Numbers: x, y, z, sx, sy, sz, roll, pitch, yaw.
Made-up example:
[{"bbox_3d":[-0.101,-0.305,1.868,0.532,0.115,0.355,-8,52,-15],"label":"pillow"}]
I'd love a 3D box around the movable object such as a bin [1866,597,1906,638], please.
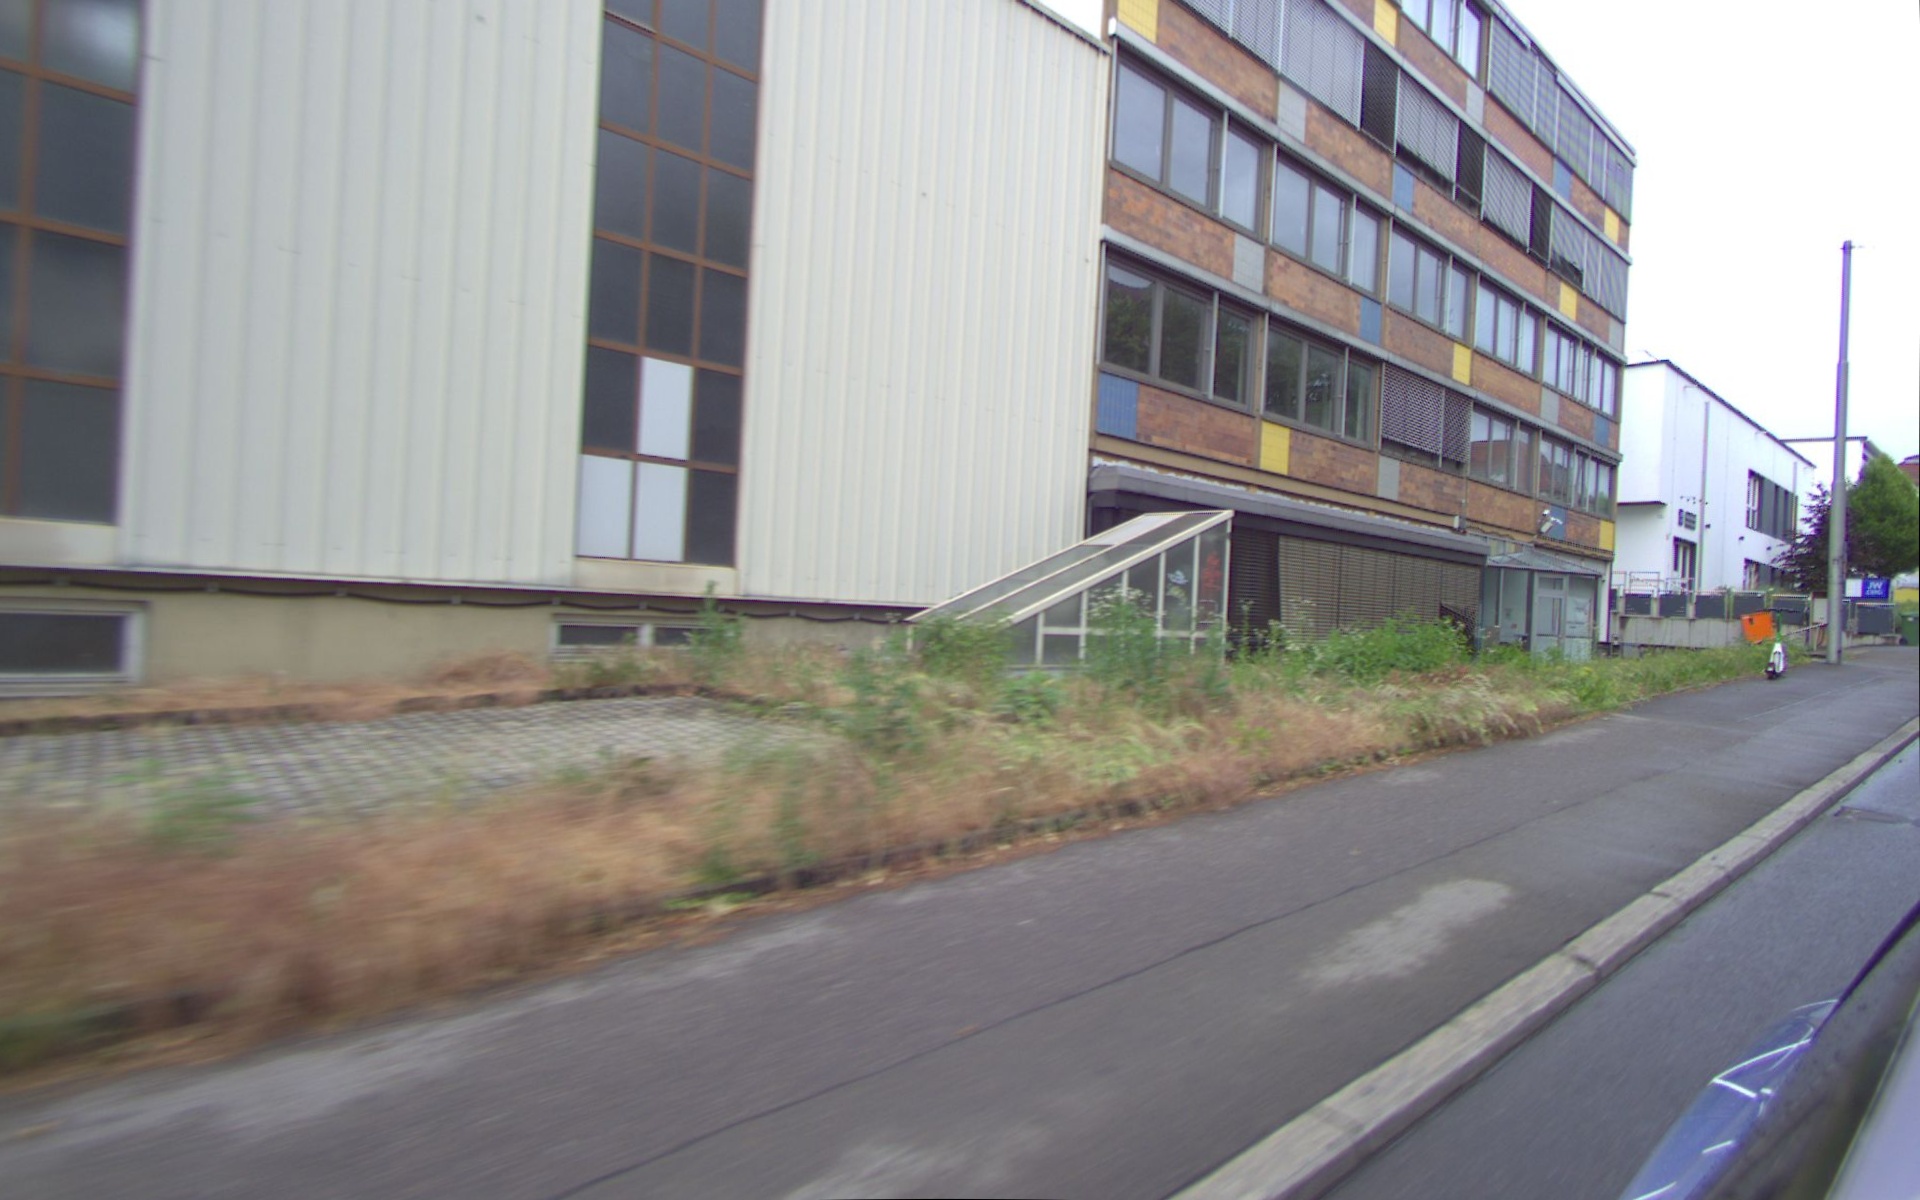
[{"bbox_3d":[26.930,0.501,29.431,0.764,1.095,0.697,0,4,-39],"label":"movable object such as a bin"}]

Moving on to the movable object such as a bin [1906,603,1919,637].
[{"bbox_3d":[27.547,0.586,28.925,0.673,0.948,0.621,0,4,-39],"label":"movable object such as a bin"}]

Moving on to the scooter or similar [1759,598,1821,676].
[{"bbox_3d":[13.636,0.575,16.616,0.605,1.176,1.672,2,2,45],"label":"scooter or similar"}]
